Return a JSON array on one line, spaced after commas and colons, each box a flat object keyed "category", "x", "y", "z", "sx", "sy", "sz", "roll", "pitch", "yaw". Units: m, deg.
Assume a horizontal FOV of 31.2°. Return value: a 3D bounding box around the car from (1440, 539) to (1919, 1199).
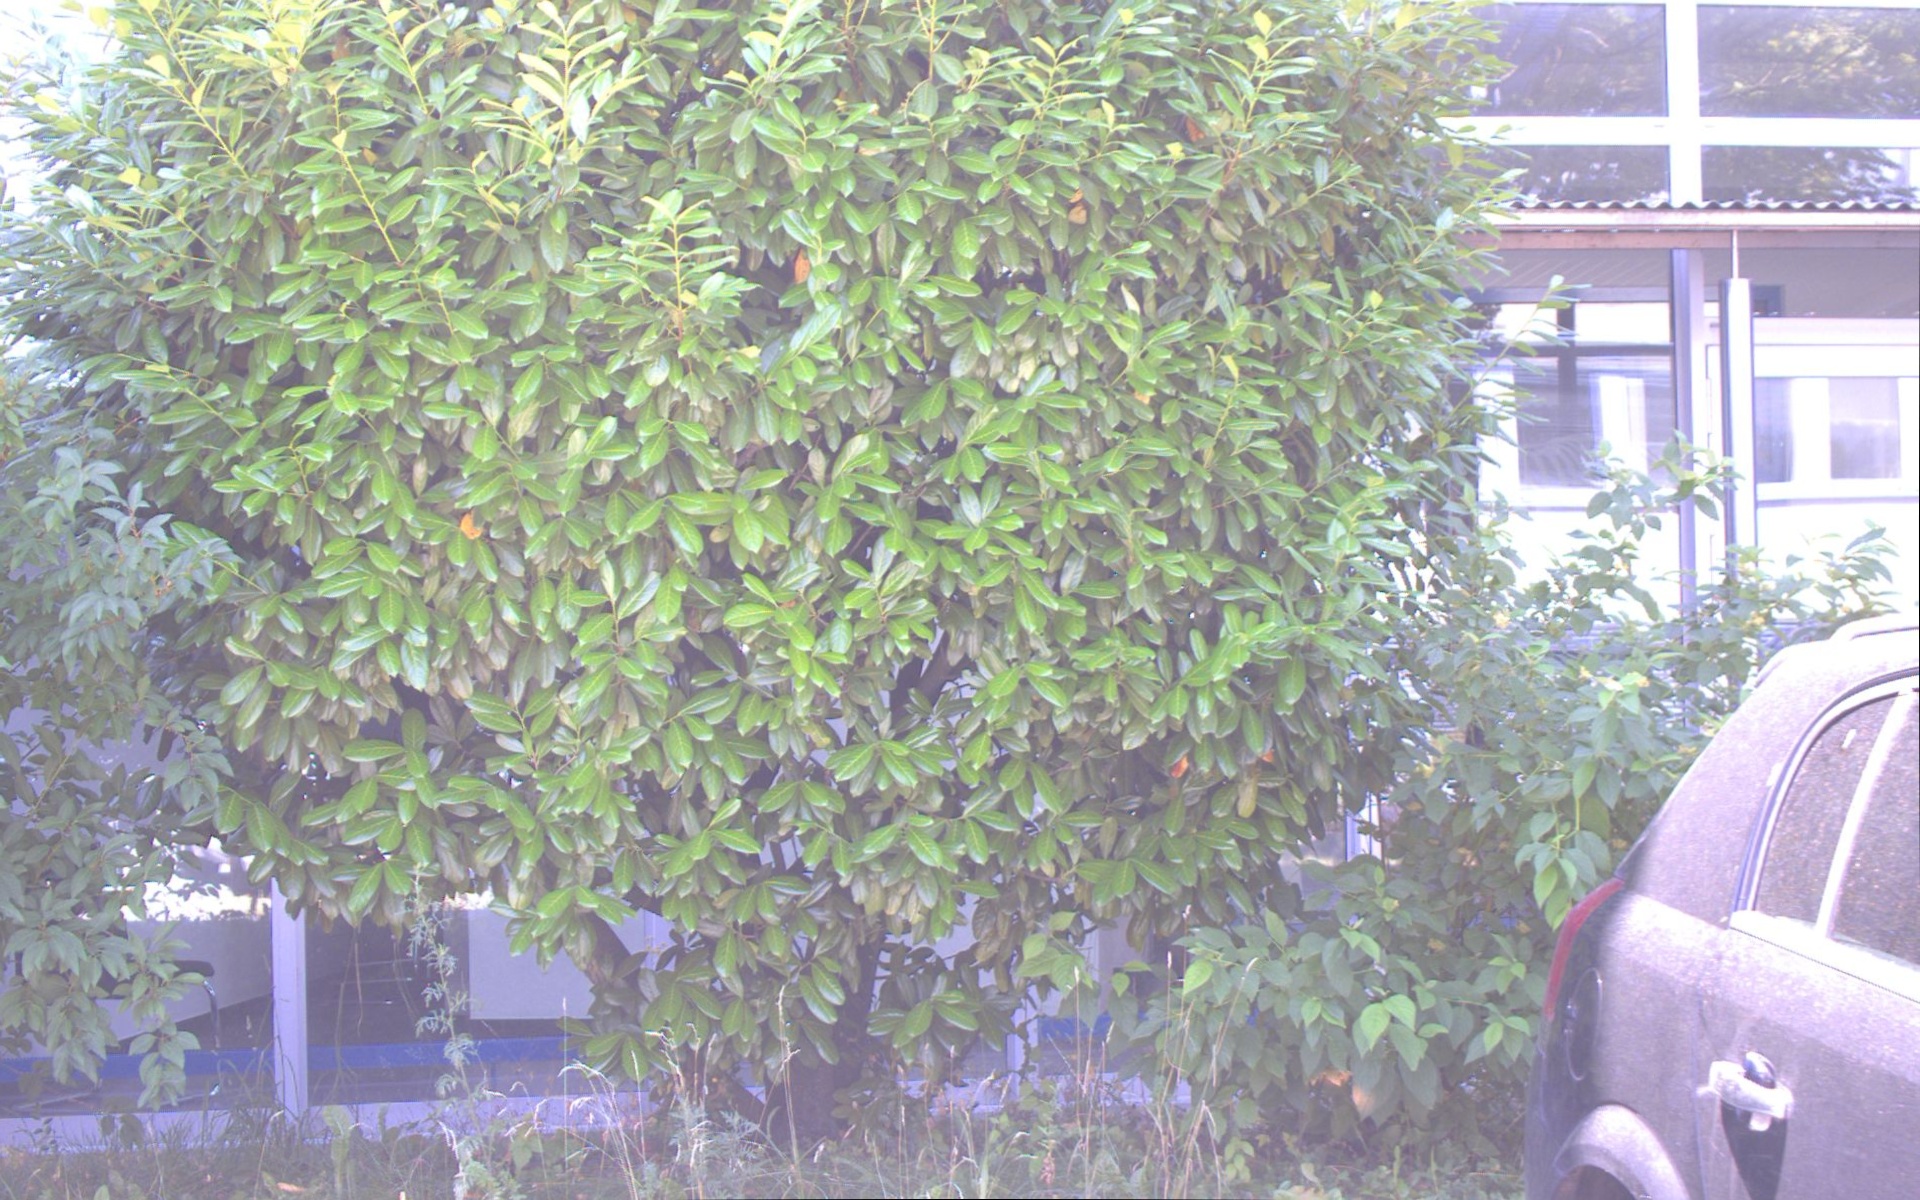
[{"category": "car", "x": 1.934, "y": 0.714, "z": 3.169, "sx": 1.757, "sy": 1.544, "sz": 4.566, "roll": 0, "pitch": 0, "yaw": -8}]
